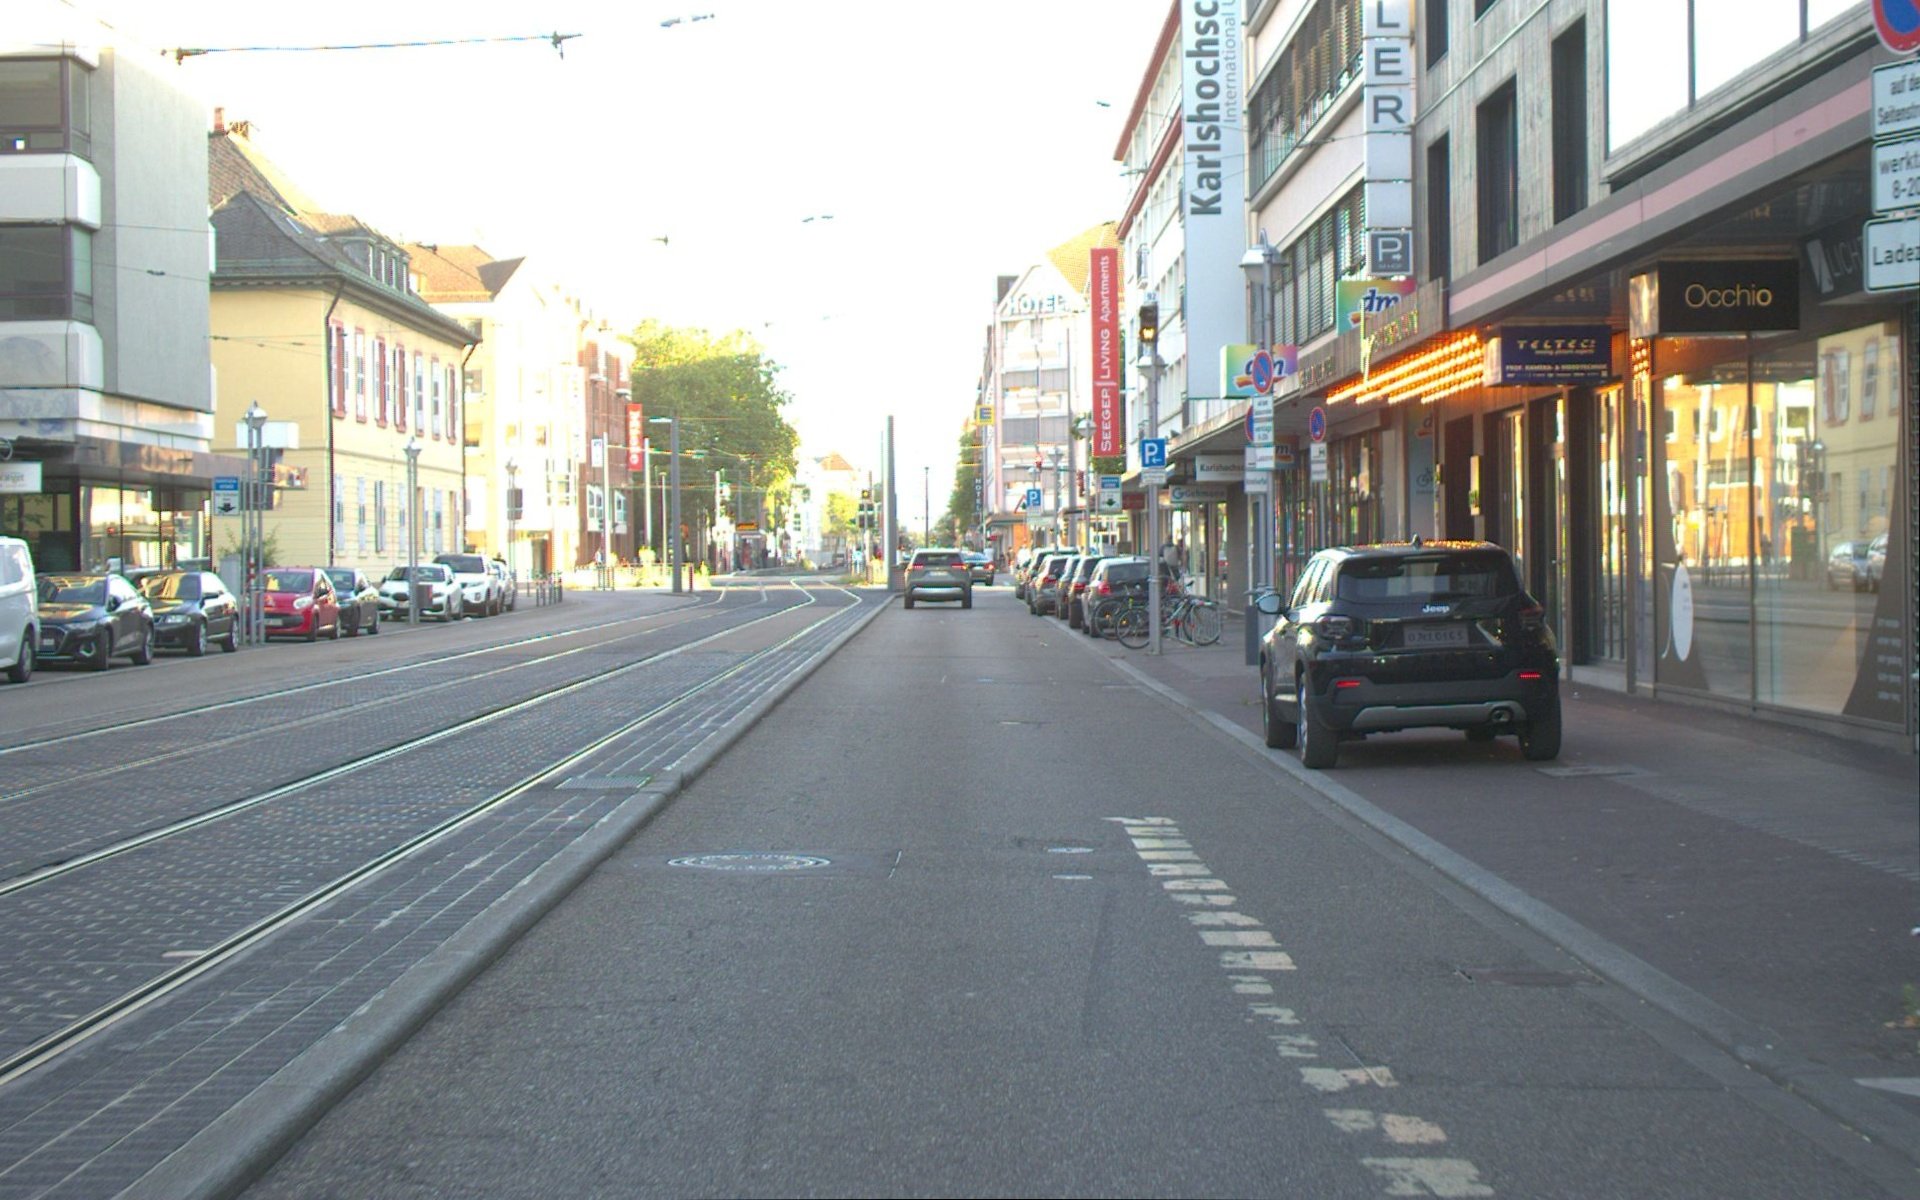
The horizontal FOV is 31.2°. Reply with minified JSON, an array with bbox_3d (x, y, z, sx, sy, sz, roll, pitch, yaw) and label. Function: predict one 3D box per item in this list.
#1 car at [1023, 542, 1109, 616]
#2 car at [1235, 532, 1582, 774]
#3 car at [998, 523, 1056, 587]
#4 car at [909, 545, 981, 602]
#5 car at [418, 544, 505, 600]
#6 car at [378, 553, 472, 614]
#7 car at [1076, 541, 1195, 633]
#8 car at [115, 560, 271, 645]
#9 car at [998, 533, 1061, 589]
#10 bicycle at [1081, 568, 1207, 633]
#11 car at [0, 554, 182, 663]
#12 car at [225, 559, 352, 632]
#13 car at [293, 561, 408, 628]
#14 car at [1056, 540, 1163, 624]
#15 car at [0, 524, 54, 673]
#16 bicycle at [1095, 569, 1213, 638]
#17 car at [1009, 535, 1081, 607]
[{"bbox_3d":[2.593,-0.539,84.864,1.944,1.697,4.545,-3,1,1],"label":"car"},{"bbox_3d":[3.194,0.317,25.364,1.944,1.539,4.545,-3,1,1],"label":"car"},{"bbox_3d":[2.390,-1.626,123.351,1.944,2.138,4.545,-3,1,1],"label":"car"},{"bbox_3d":[-0.387,-0.746,95.713,1.944,1.539,4.545,0,1,1],"label":"car"},{"bbox_3d":[-13.437,-0.769,92.885,1.791,1.444,3.892,2,1,-1],"label":"car"},{"bbox_3d":[-13.495,-0.436,86.842,1.791,1.444,3.892,2,1,-1],"label":"car"},{"bbox_3d":[3.186,-0.273,63.342,1.944,1.539,4.545,-3,1,1],"label":"car"},{"bbox_3d":[-12.967,0.018,58.294,1.791,1.334,3.892,2,1,-1],"label":"car"},{"bbox_3d":[2.233,-1.276,111.346,1.944,1.697,4.545,-3,1,1],"label":"car"},{"bbox_3d":[3.183,0.009,59.647,2.118,1.087,0.592,-1,1,-2],"label":"bicycle"},{"bbox_3d":[-13.235,0.088,51.999,1.917,1.516,4.630,2,1,-1],"label":"car"},{"bbox_3d":[-13.280,-0.109,68.176,1.791,1.334,3.892,2,1,-1],"label":"car"},{"bbox_3d":[-12.990,-0.131,73.440,1.791,1.334,3.892,2,1,-1],"label":"car"},{"bbox_3d":[2.969,-0.393,69.103,1.944,1.539,4.545,-3,1,1],"label":"car"},{"bbox_3d":[-13.343,-0.046,44.464,1.917,1.929,4.842,2,1,0],"label":"car"},{"bbox_3d":[3.151,0.061,55.895,1.869,1.087,0.545,-1,1,0],"label":"bicycle"},{"bbox_3d":[2.452,-0.862,99.810,1.944,1.958,4.545,-3,1,1],"label":"car"}]
